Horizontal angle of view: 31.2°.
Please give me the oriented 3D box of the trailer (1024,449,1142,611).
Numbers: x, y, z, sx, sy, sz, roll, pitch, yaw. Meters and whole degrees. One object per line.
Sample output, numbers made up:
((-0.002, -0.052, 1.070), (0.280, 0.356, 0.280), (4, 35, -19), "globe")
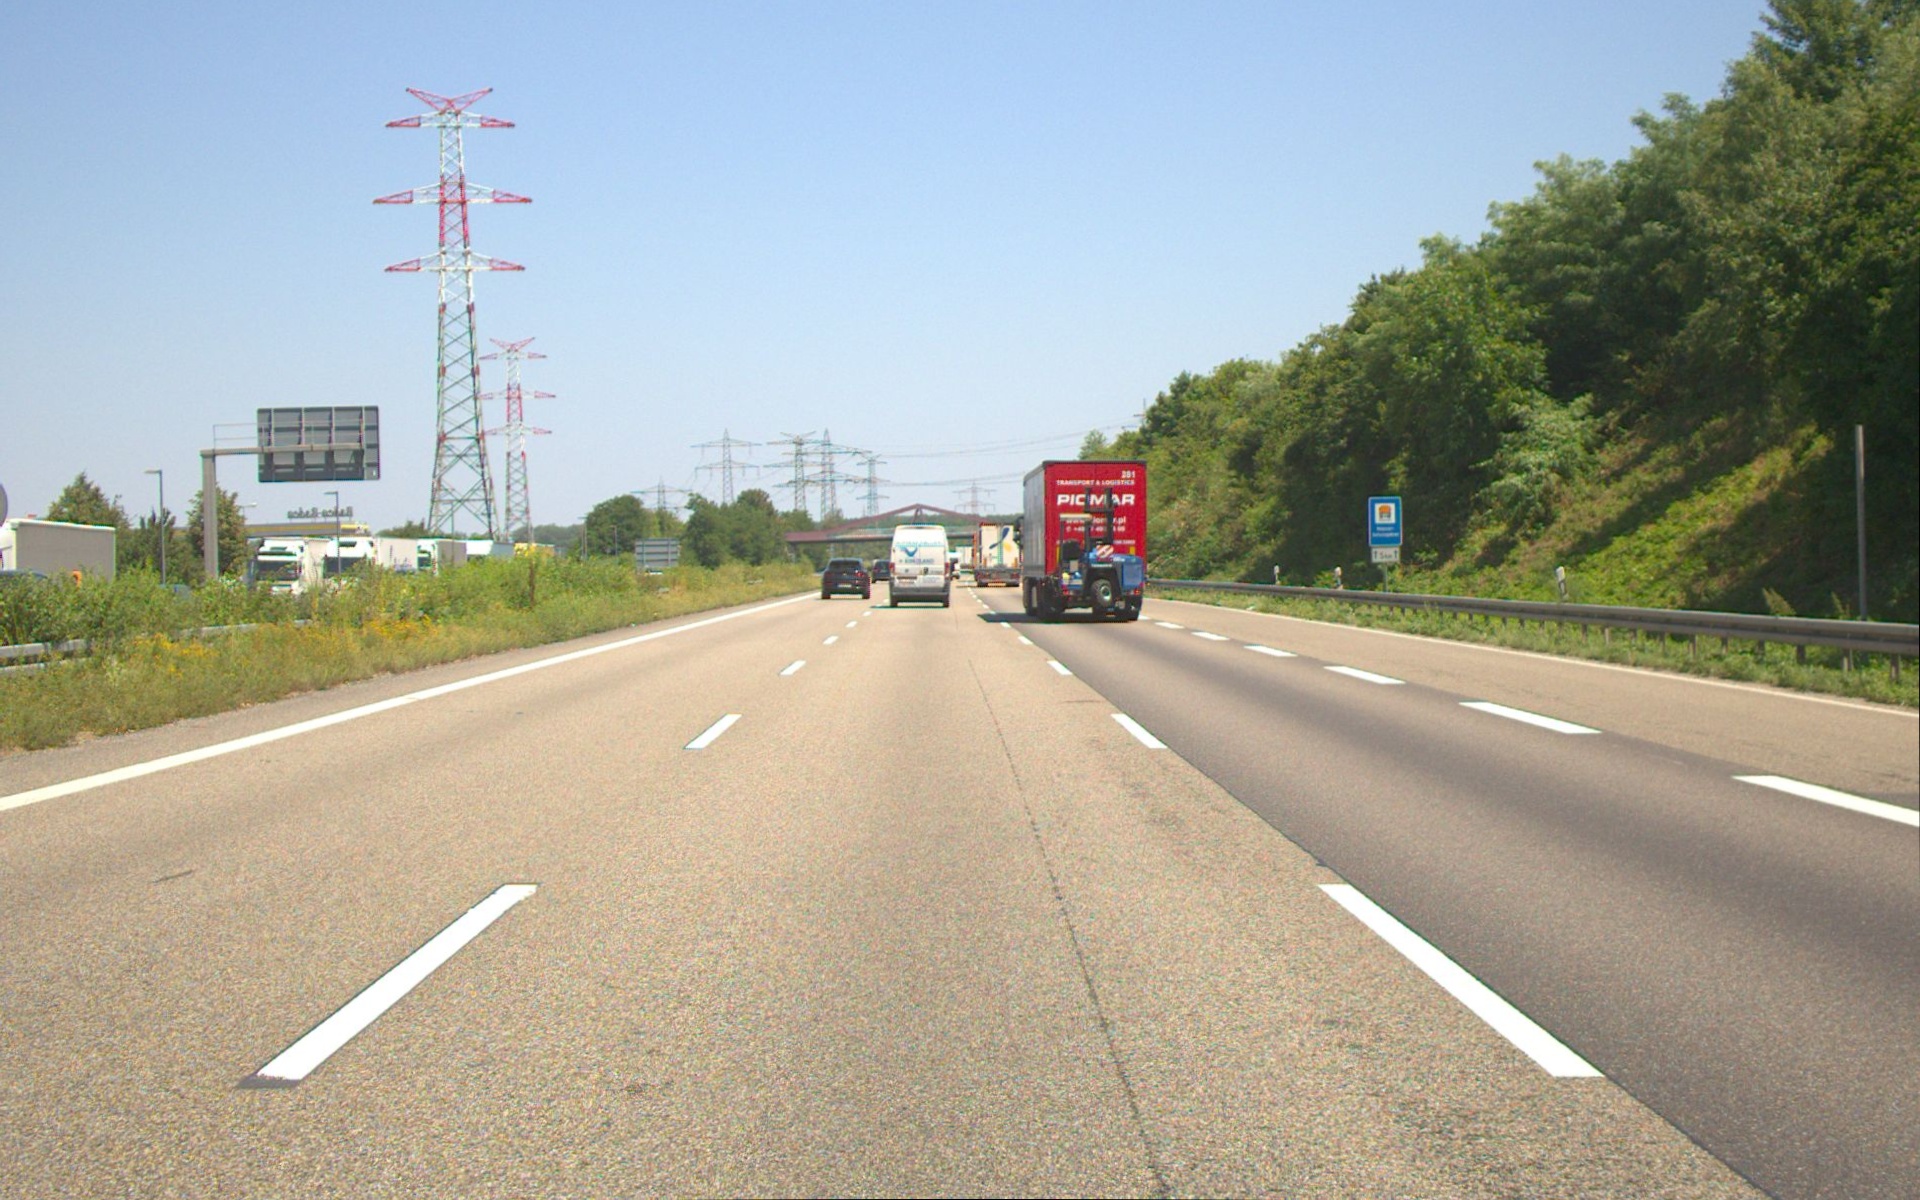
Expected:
((3.092, -1.747, 89.895), (2.490, 3.896, 14.246), (0, 1, 0), "trailer")

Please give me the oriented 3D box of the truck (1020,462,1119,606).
((3.037, -1.825, 96.881), (2.499, 3.906, 7.097), (0, 0, 0), "truck")

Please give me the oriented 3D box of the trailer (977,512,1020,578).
((2.473, -3.472, 218.647), (2.637, 4.047, 12.366), (1, 1, 1), "trailer")

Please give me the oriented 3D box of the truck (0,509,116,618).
((-33.082, -1.314, 122.345), (2.799, 3.631, 13.607), (1, 1, 0), "truck")

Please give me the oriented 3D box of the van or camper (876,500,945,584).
((-1.665, -1.961, 117.824), (2.230, 2.772, 5.423), (1, 1, 0), "van or camper")

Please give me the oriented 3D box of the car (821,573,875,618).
((-4.688, -0.200, 144.410), (1.982, 1.811, 3.812), (1, 1, 2), "car")

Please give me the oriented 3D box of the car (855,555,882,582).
((-6.816, -2.348, 256.562), (1.971, 2.005, 4.197), (1, 1, -1), "car")

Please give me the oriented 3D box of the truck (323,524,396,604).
((-31.822, -1.907, 182.450), (2.581, 4.174, 7.937), (0, 1, 0), "truck")

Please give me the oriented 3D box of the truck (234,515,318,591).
((-38.688, -2.636, 194.682), (3.095, 4.138, 8.317), (1, 1, 0), "truck")

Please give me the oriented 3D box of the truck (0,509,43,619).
((-33.040, -1.232, 115.540), (2.799, 3.631, 6.147), (1, 1, 0), "truck")
